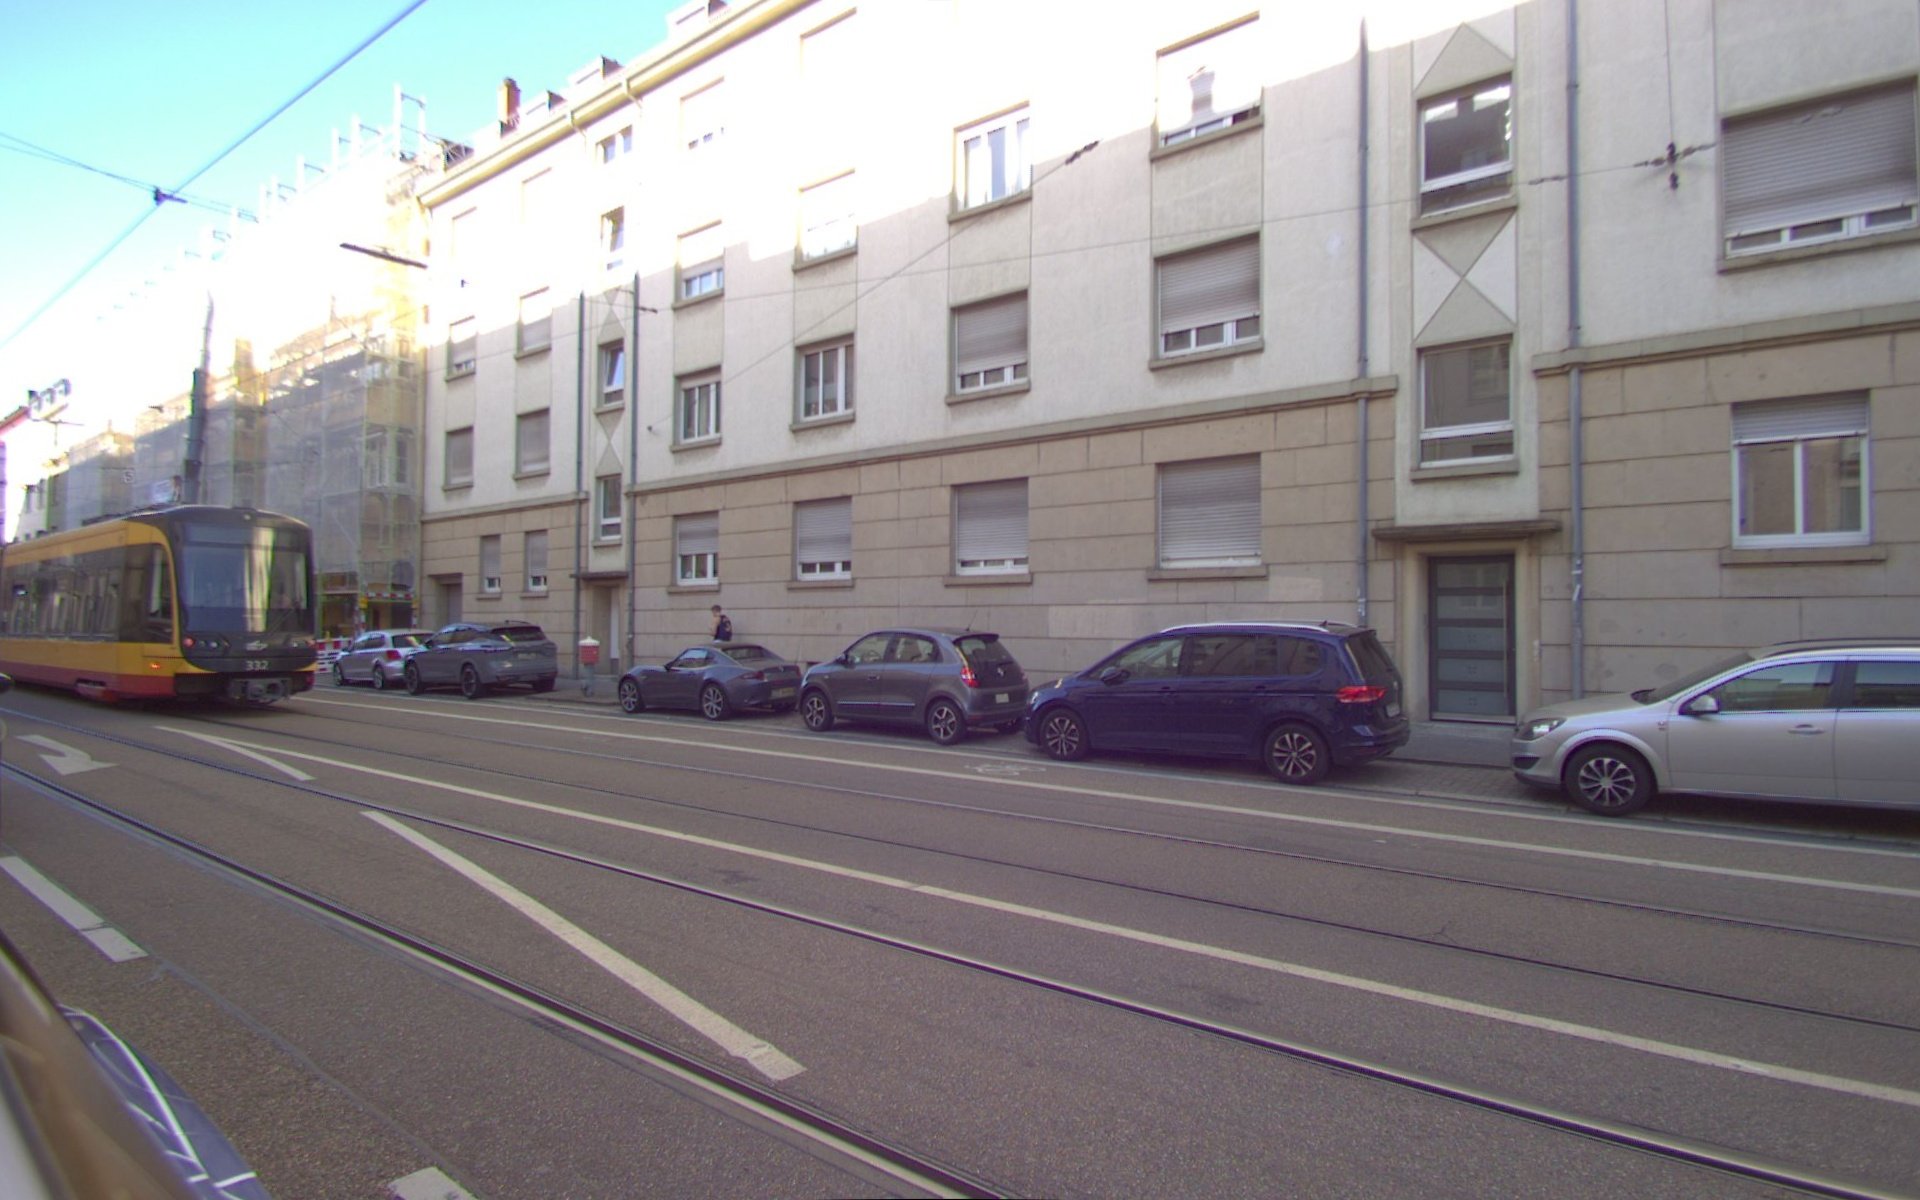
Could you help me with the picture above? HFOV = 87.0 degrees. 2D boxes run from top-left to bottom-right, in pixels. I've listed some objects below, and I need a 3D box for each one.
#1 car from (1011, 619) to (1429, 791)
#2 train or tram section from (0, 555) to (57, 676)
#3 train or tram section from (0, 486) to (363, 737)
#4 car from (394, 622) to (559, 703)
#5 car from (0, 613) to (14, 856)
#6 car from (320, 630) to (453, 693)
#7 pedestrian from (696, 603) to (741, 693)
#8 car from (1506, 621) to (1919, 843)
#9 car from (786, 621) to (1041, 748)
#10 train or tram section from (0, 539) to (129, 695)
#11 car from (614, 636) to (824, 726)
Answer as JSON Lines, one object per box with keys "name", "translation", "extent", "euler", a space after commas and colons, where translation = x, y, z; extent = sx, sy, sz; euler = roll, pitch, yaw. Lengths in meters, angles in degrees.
{"name": "car", "translation": [2.893, 1.038, 11.689], "extent": [4.285, 1.597, 1.887], "euler": [-1, 0, 37]}
{"name": "train or tram section", "translation": [-33.911, 0.531, 34.040], "extent": [12.613, 3.621, 3.032], "euler": [-1, -3, 38]}
{"name": "train or tram section", "translation": [-16.411, 0.226, 20.182], "extent": [14.244, 3.659, 2.719], "euler": [-1, 0, 38]}
{"name": "car", "translation": [-10.875, 1.317, 22.667], "extent": [4.108, 1.603, 1.691], "euler": [-1, 0, 38]}
{"name": "car", "translation": [-8.021, 0.854, 7.007], "extent": [3.997, 1.515, 1.670], "euler": [-1, -3, 40]}
{"name": "car", "translation": [-14.490, 1.492, 25.506], "extent": [3.639, 1.402, 1.617], "euler": [-1, 0, 37]}
{"name": "pedestrian", "translation": [-5.092, 0.999, 21.332], "extent": [0.733, 1.846, 0.592], "euler": [-1, 0, 40]}
{"name": "car", "translation": [7.218, 0.991, 8.530], "extent": [4.358, 1.571, 1.975], "euler": [-1, 0, 38]}
{"name": "car", "translation": [-0.731, 1.116, 14.719], "extent": [3.493, 1.584, 1.650], "euler": [-1, 0, 38]}
{"name": "train or tram section", "translation": [-25.383, 0.444, 27.235], "extent": [9.072, 3.658, 2.798], "euler": [-1, 0, 38]}
{"name": "car", "translation": [-4.209, 1.327, 17.540], "extent": [3.483, 1.286, 1.730], "euler": [-1, 0, 37]}
